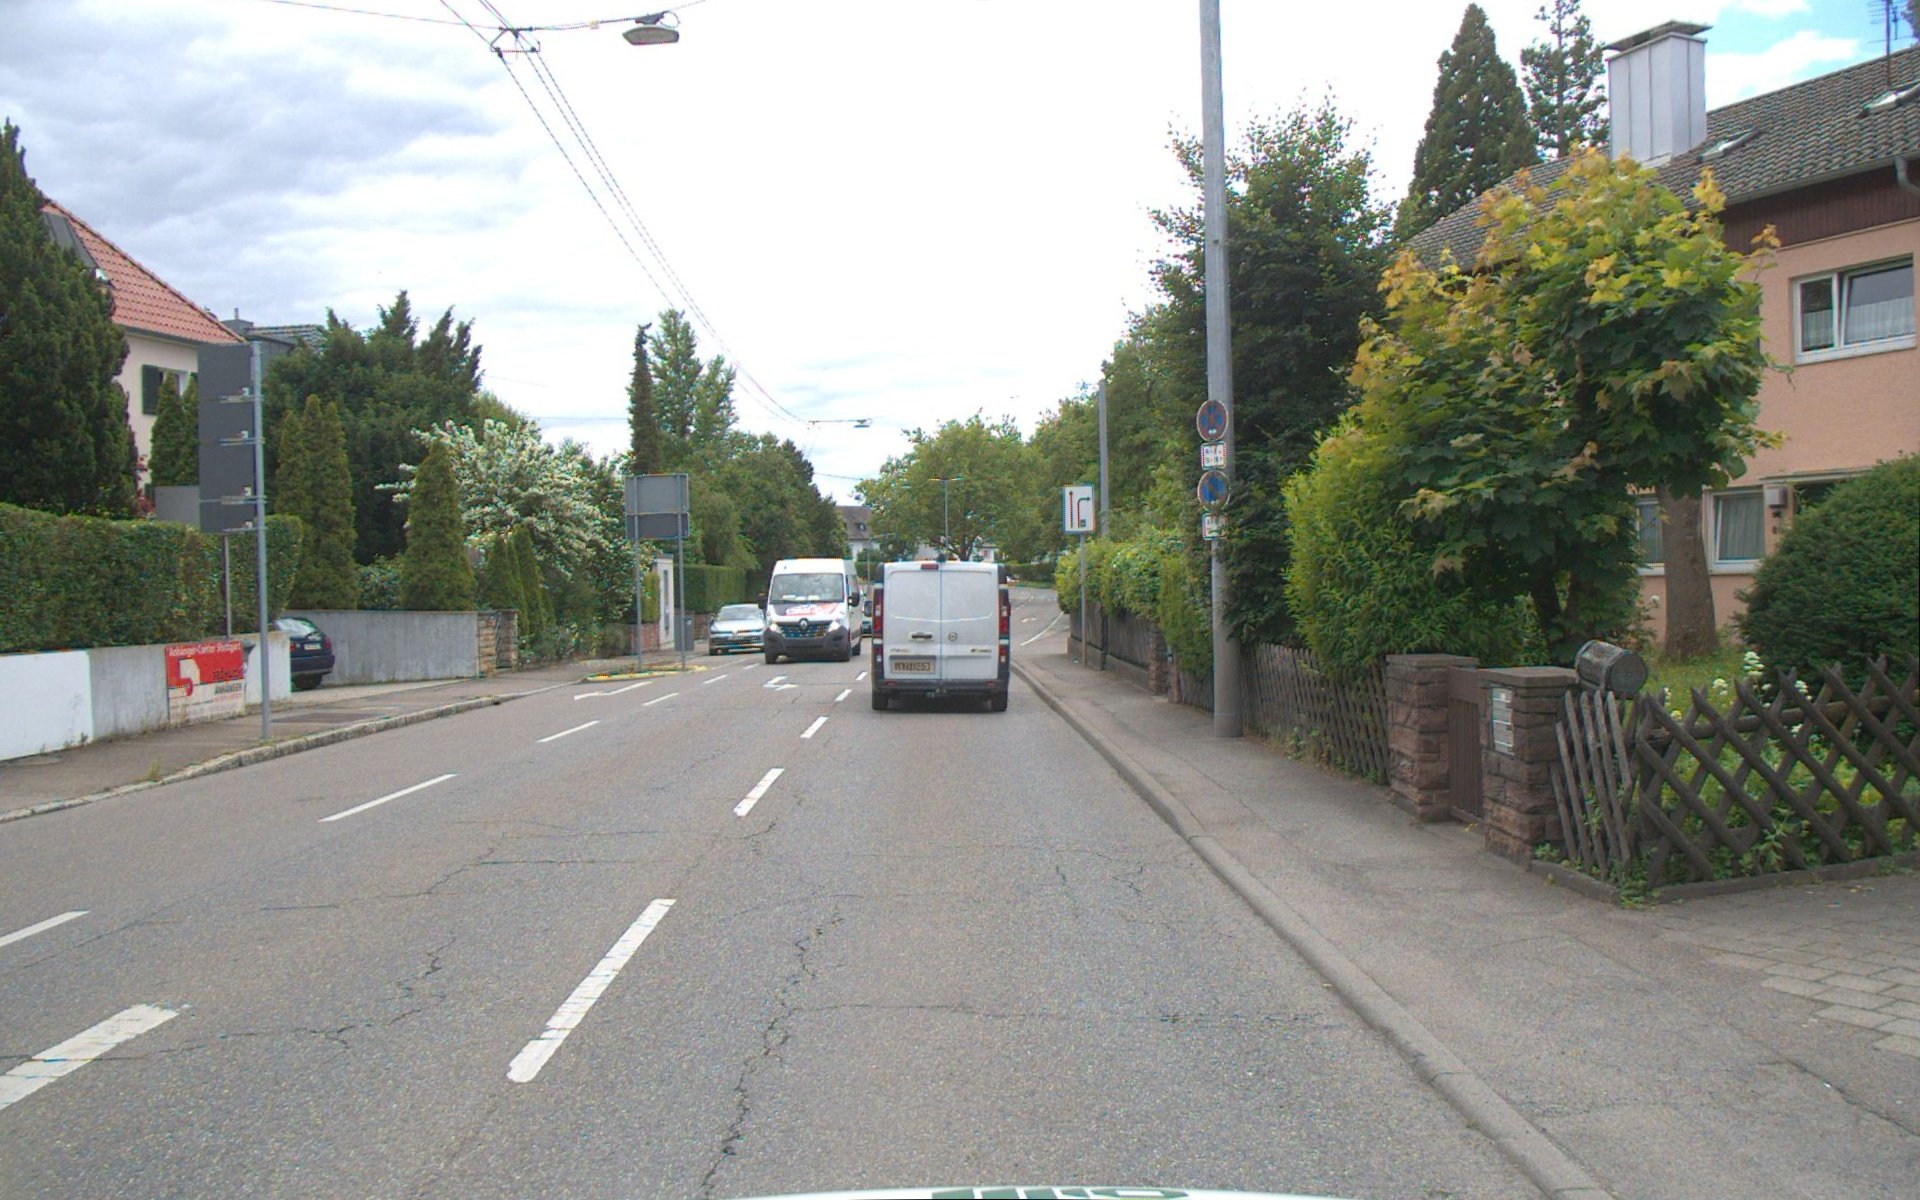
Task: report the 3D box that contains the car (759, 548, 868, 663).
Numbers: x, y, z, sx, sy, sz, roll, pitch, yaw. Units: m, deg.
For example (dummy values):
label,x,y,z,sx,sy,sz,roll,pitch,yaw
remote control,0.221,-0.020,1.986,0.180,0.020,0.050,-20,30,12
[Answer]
label,x,y,z,sx,sy,sz,roll,pitch,yaw
car,-3.478,0.143,40.402,2.068,2.542,6.124,-1,-1,0

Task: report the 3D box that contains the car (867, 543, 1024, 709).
label,x,y,z,sx,sy,sz,roll,pitch,yaw
car,-0.255,0.318,23.520,1.966,2.073,5.008,1,0,-2

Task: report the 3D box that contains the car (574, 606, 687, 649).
label,x,y,z,sx,sy,sz,roll,pitch,yaw
car,-11.746,0.968,59.102,3.512,1.415,1.851,-1,0,8

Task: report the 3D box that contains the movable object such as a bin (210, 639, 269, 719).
label,x,y,z,sx,sy,sz,roll,pitch,yaw
movable object such as a bin,-9.235,1.010,21.216,0.497,0.990,0.540,-1,0,2

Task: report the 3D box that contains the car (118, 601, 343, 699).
label,x,y,z,sx,sy,sz,roll,pitch,yaw
car,-13.638,0.926,30.977,3.512,1.620,1.644,-3,0,13

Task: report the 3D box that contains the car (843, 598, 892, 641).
label,x,y,z,sx,sy,sz,roll,pitch,yaw
car,-3.641,0.737,65.512,1.699,1.580,4.447,-1,0,0

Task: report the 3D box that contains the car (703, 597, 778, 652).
label,x,y,z,sx,sy,sz,roll,pitch,yaw
car,-6.656,0.699,50.555,1.773,1.480,4.412,-4,0,-2
